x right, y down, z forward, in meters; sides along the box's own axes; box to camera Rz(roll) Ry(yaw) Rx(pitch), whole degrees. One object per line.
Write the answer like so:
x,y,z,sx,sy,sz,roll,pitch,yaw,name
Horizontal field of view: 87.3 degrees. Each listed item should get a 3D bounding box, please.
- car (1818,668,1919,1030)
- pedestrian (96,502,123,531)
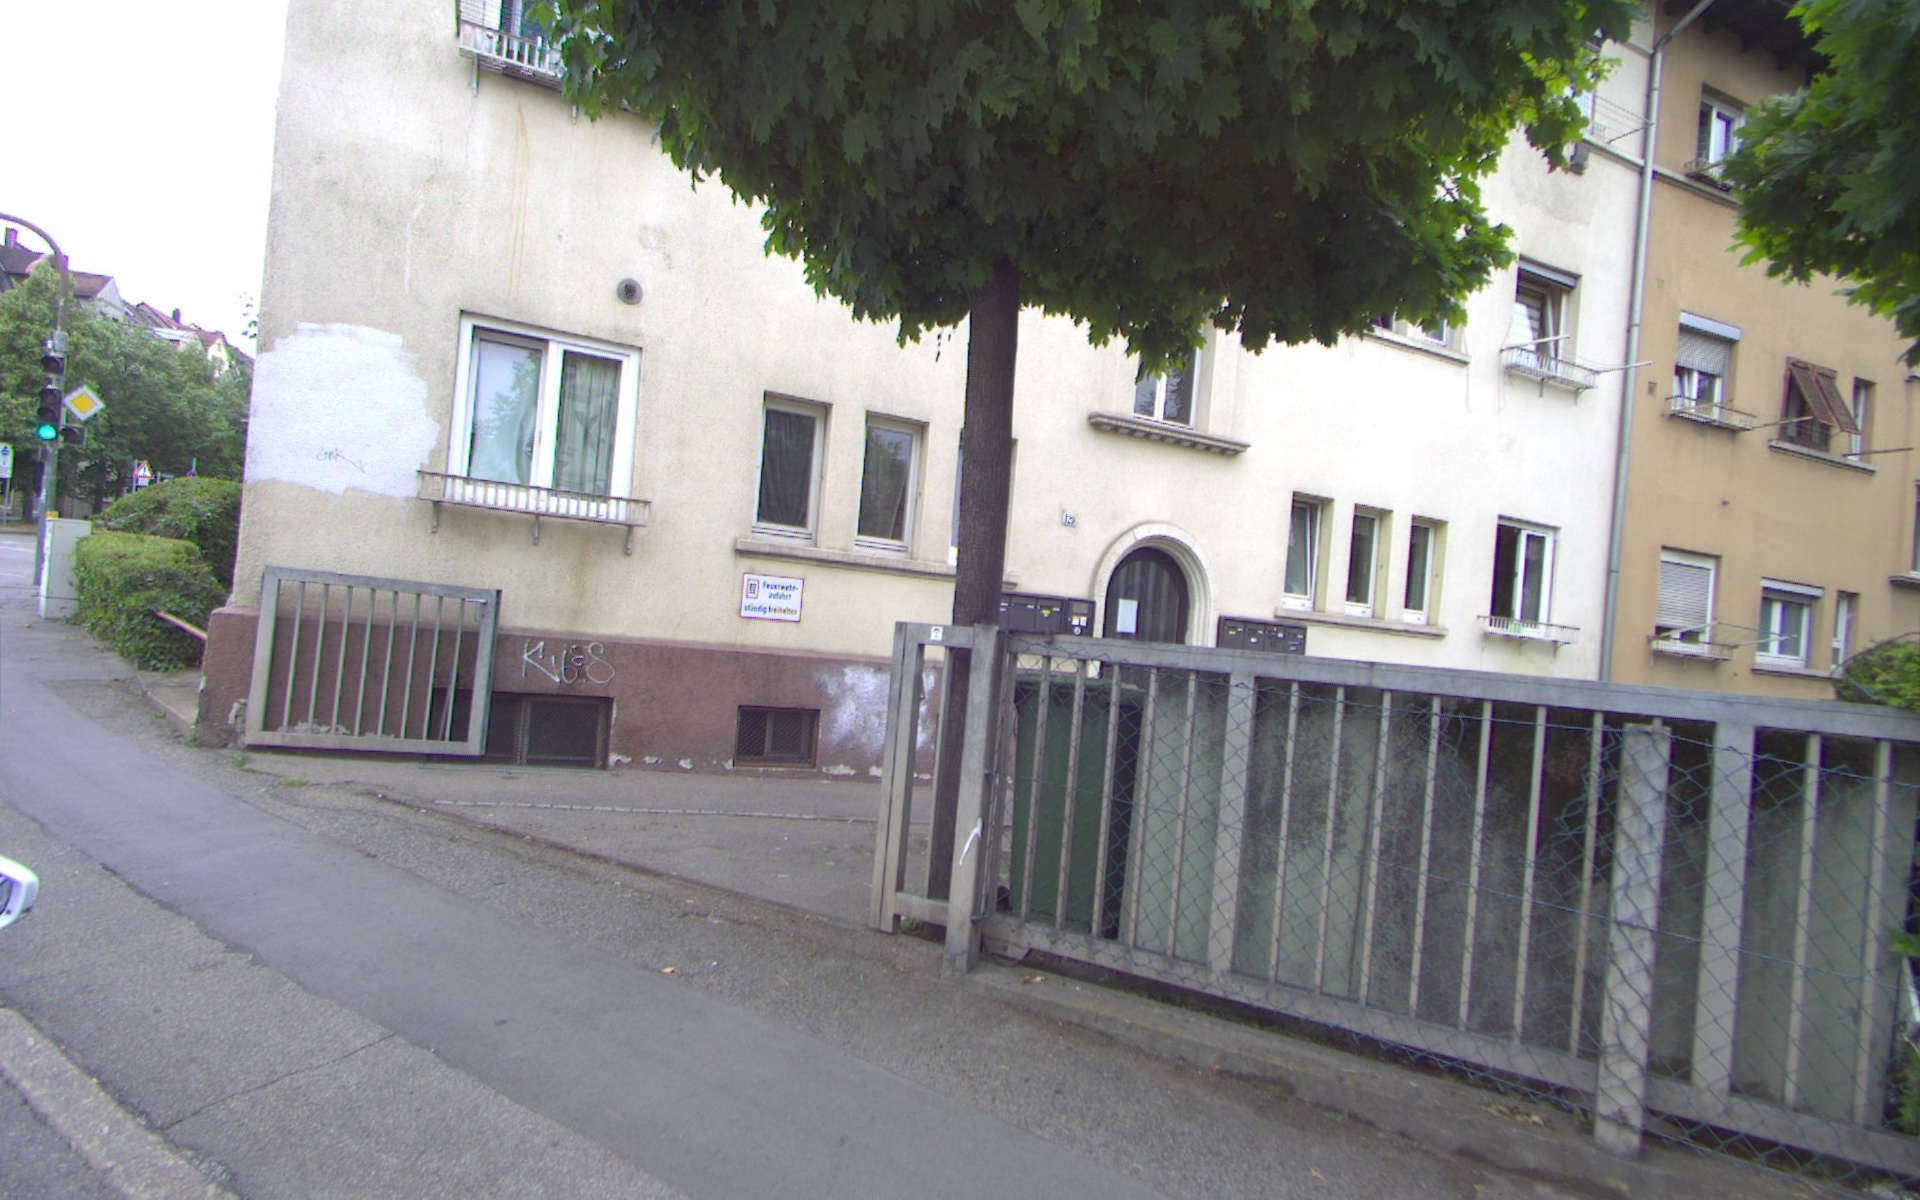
5.548,1.218,3.607,1.688,1.477,3.405,8,-2,-37,car
-67.654,-6.625,80.010,1.178,2.038,0.985,7,0,-18,pedestrian
